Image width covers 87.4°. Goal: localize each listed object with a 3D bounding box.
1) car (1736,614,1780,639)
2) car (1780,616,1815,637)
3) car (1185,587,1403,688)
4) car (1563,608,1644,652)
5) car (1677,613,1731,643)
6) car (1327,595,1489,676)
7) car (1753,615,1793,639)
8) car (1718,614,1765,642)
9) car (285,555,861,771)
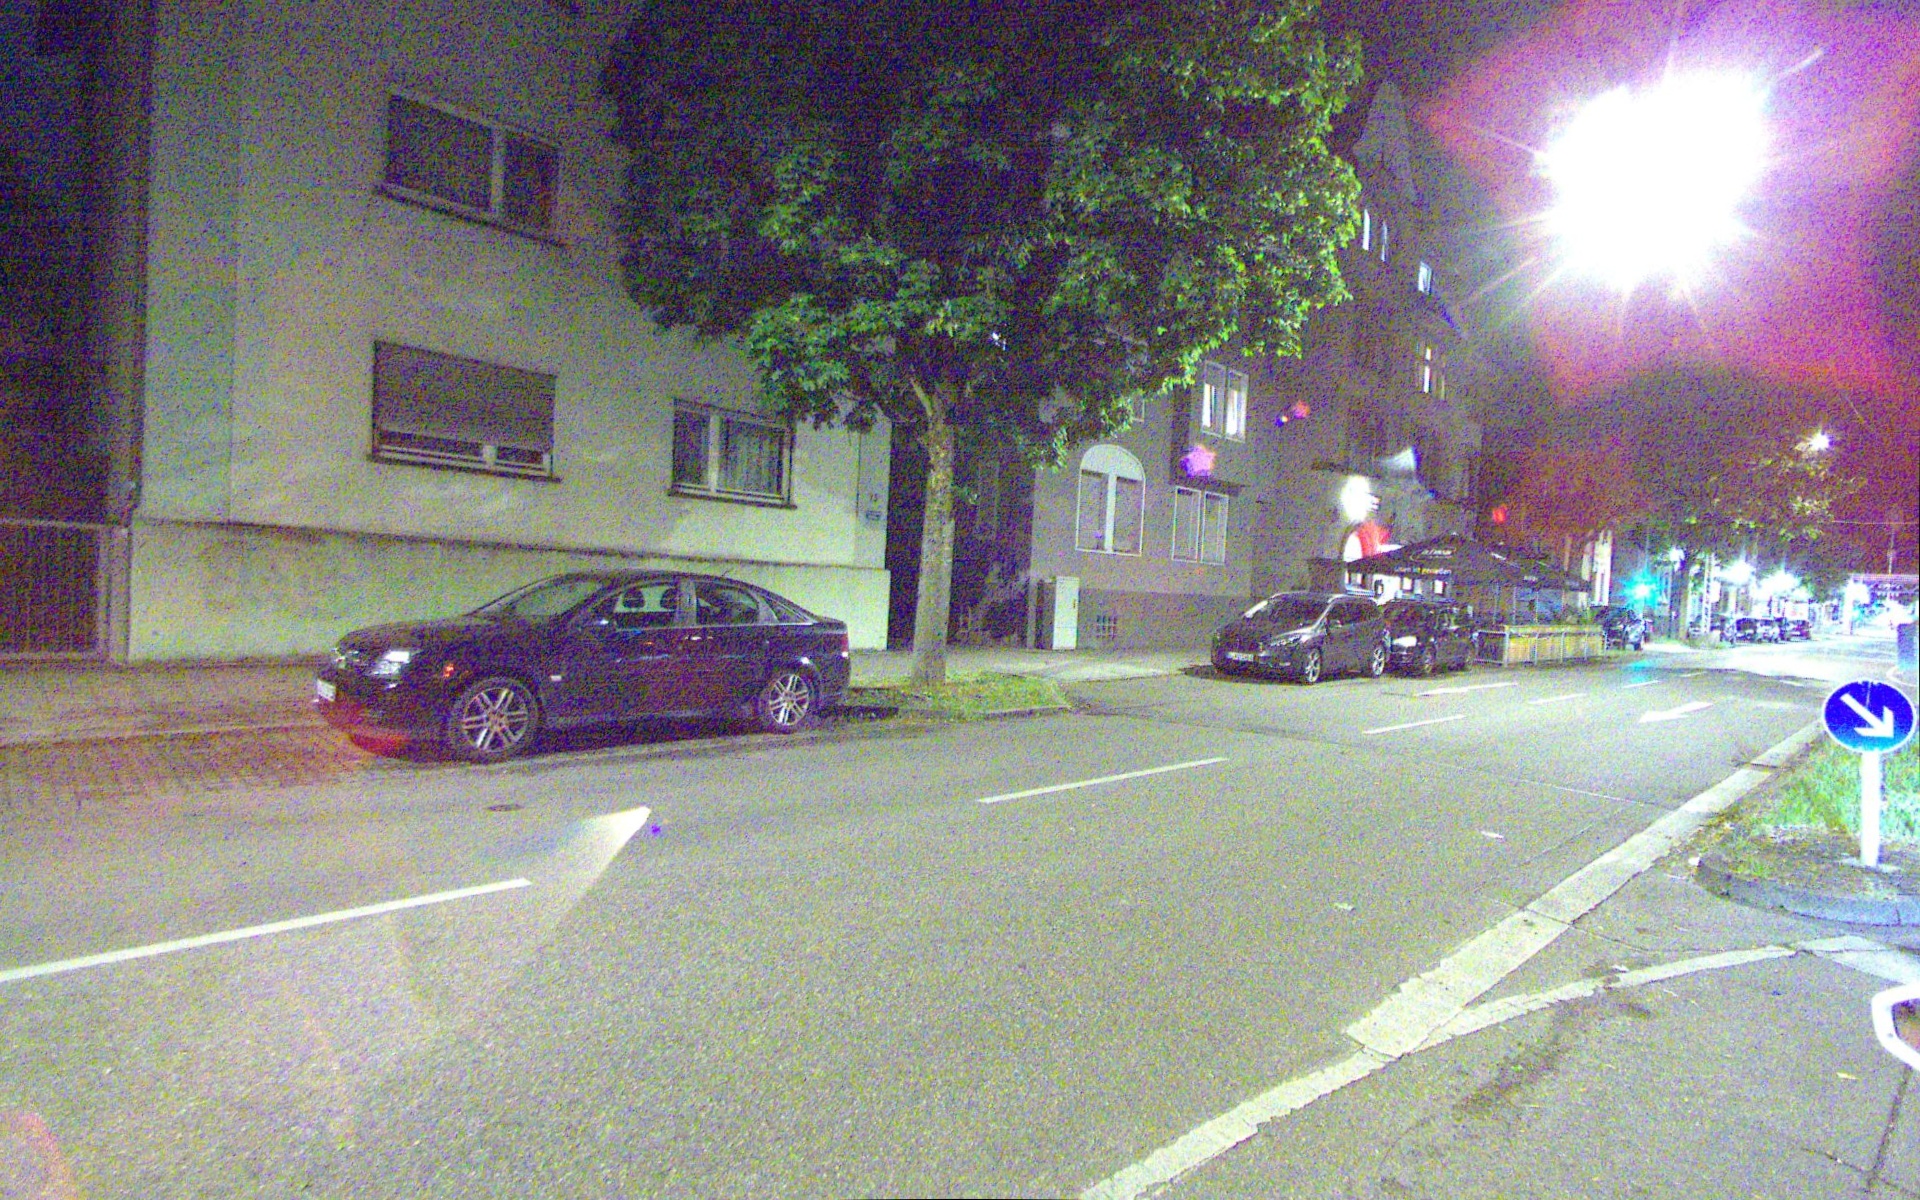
[{"bbox_3d":[49.235,1.625,61.951,1.634,1.450,3.975,3,1,45],"label":"car"},{"bbox_3d":[63.593,2.013,76.258,1.634,1.450,3.975,3,1,45],"label":"car"},{"bbox_3d":[6.106,0.613,18.086,4.423,1.491,1.880,1,4,-45],"label":"car"},{"bbox_3d":[23.515,1.078,36.663,1.634,1.450,3.975,3,1,45],"label":"car"},{"bbox_3d":[38.712,1.455,52.222,1.634,1.450,3.975,3,1,45],"label":"car"},{"bbox_3d":[9.718,0.729,21.636,1.785,1.501,4.297,4,1,44],"label":"car"},{"bbox_3d":[53.943,1.794,66.611,1.634,1.450,3.975,3,1,45],"label":"car"},{"bbox_3d":[44.829,1.605,57.607,1.634,1.450,3.975,3,1,45],"label":"car"},{"bbox_3d":[-3.061,0.438,8.759,1.604,1.401,4.428,3,1,42],"label":"car"}]
